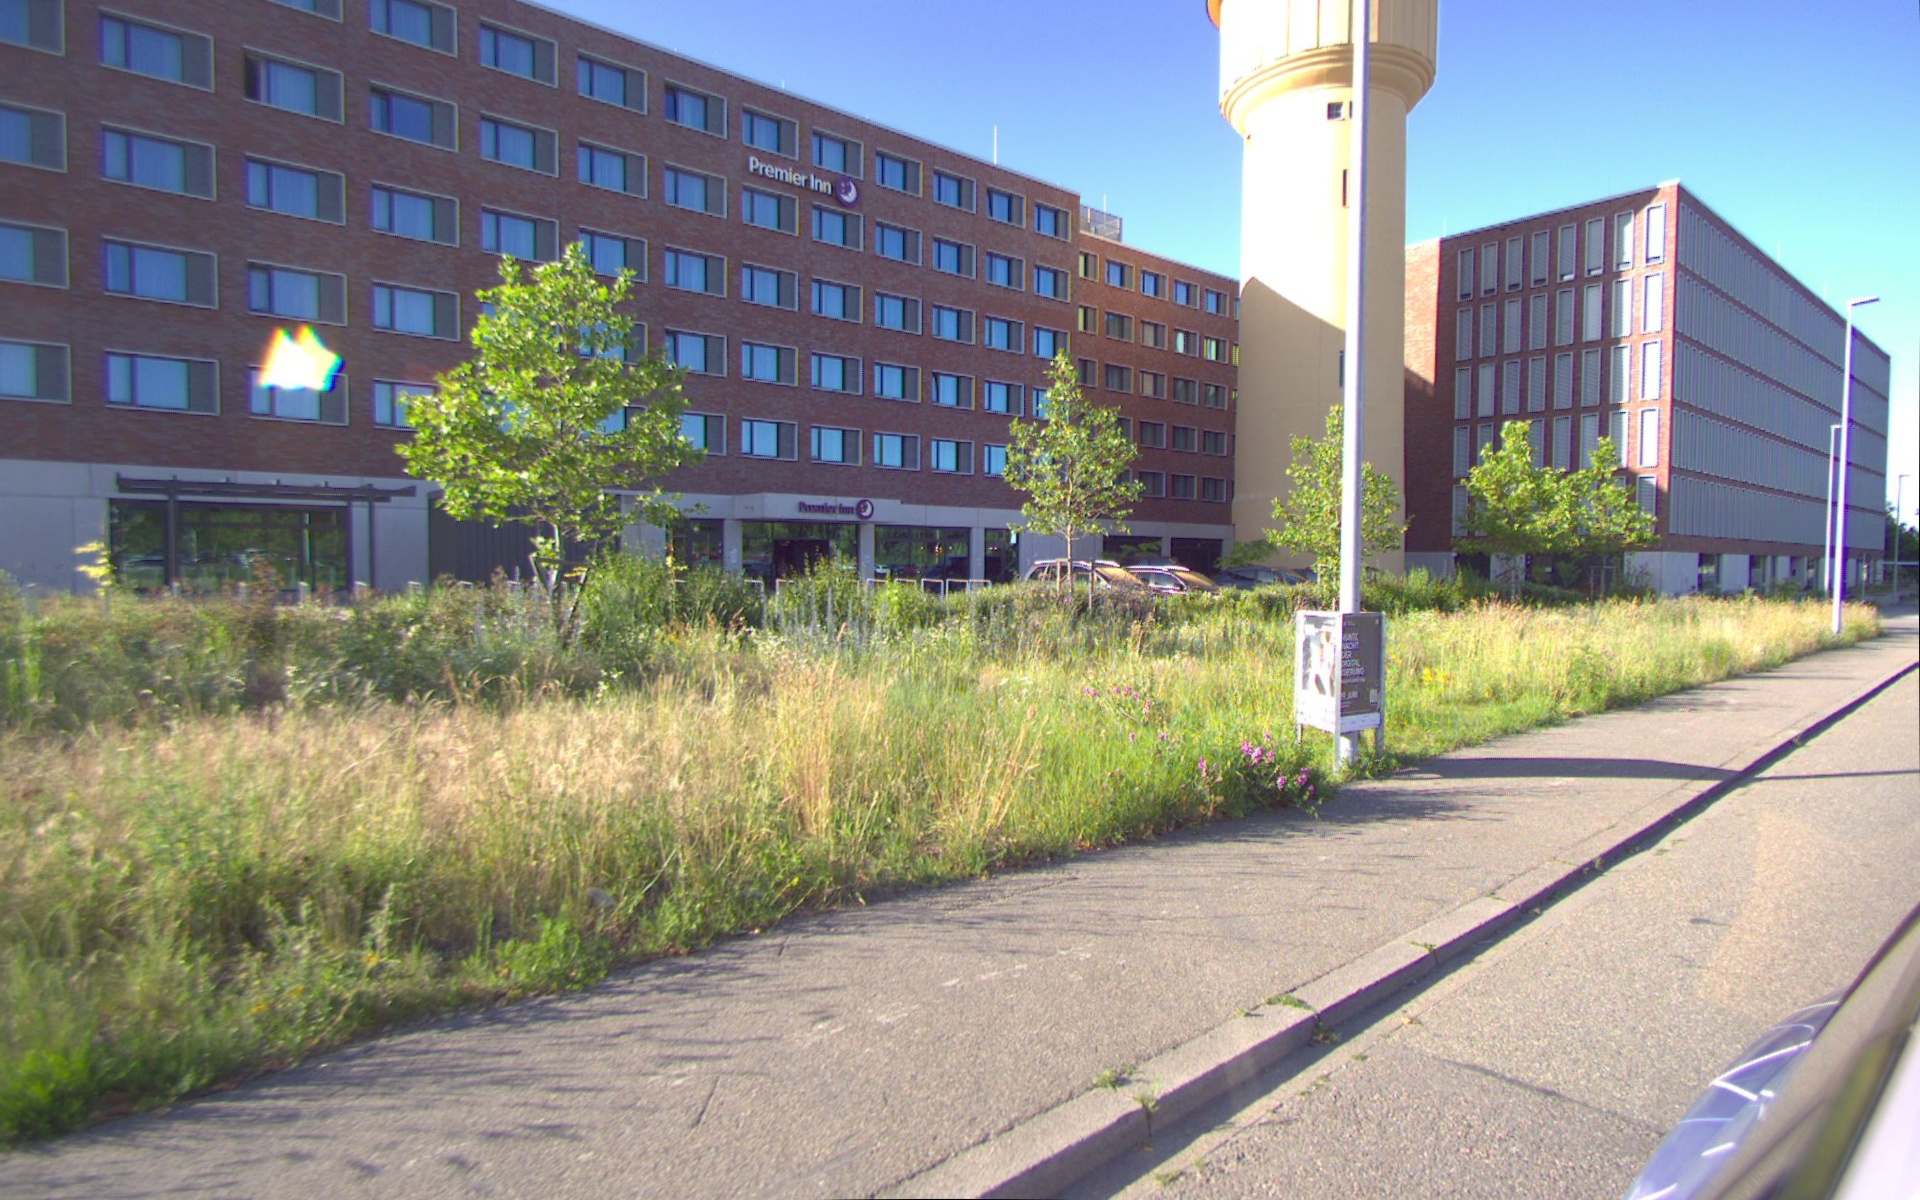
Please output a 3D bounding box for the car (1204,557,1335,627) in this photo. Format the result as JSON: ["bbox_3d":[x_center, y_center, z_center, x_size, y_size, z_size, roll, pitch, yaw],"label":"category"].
[{"bbox_3d":[9.592,-0.292,31.525,1.804,2.046,3.480,-1,2,-40],"label":"car"}]

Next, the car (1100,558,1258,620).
[{"bbox_3d":[5.907,-0.350,27.677,1.800,1.569,3.998,-1,2,-37],"label":"car"}]

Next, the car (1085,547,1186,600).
[{"bbox_3d":[7.981,-1.186,45.740,4.851,2.292,1.866,-1,2,-41],"label":"car"}]

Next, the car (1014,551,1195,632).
[{"bbox_3d":[3.563,-0.264,25.644,1.965,1.851,4.327,-1,2,-40],"label":"car"}]

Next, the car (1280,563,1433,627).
[{"bbox_3d":[13.557,-0.236,34.798,1.964,2.038,4.528,-1,2,-39],"label":"car"}]
